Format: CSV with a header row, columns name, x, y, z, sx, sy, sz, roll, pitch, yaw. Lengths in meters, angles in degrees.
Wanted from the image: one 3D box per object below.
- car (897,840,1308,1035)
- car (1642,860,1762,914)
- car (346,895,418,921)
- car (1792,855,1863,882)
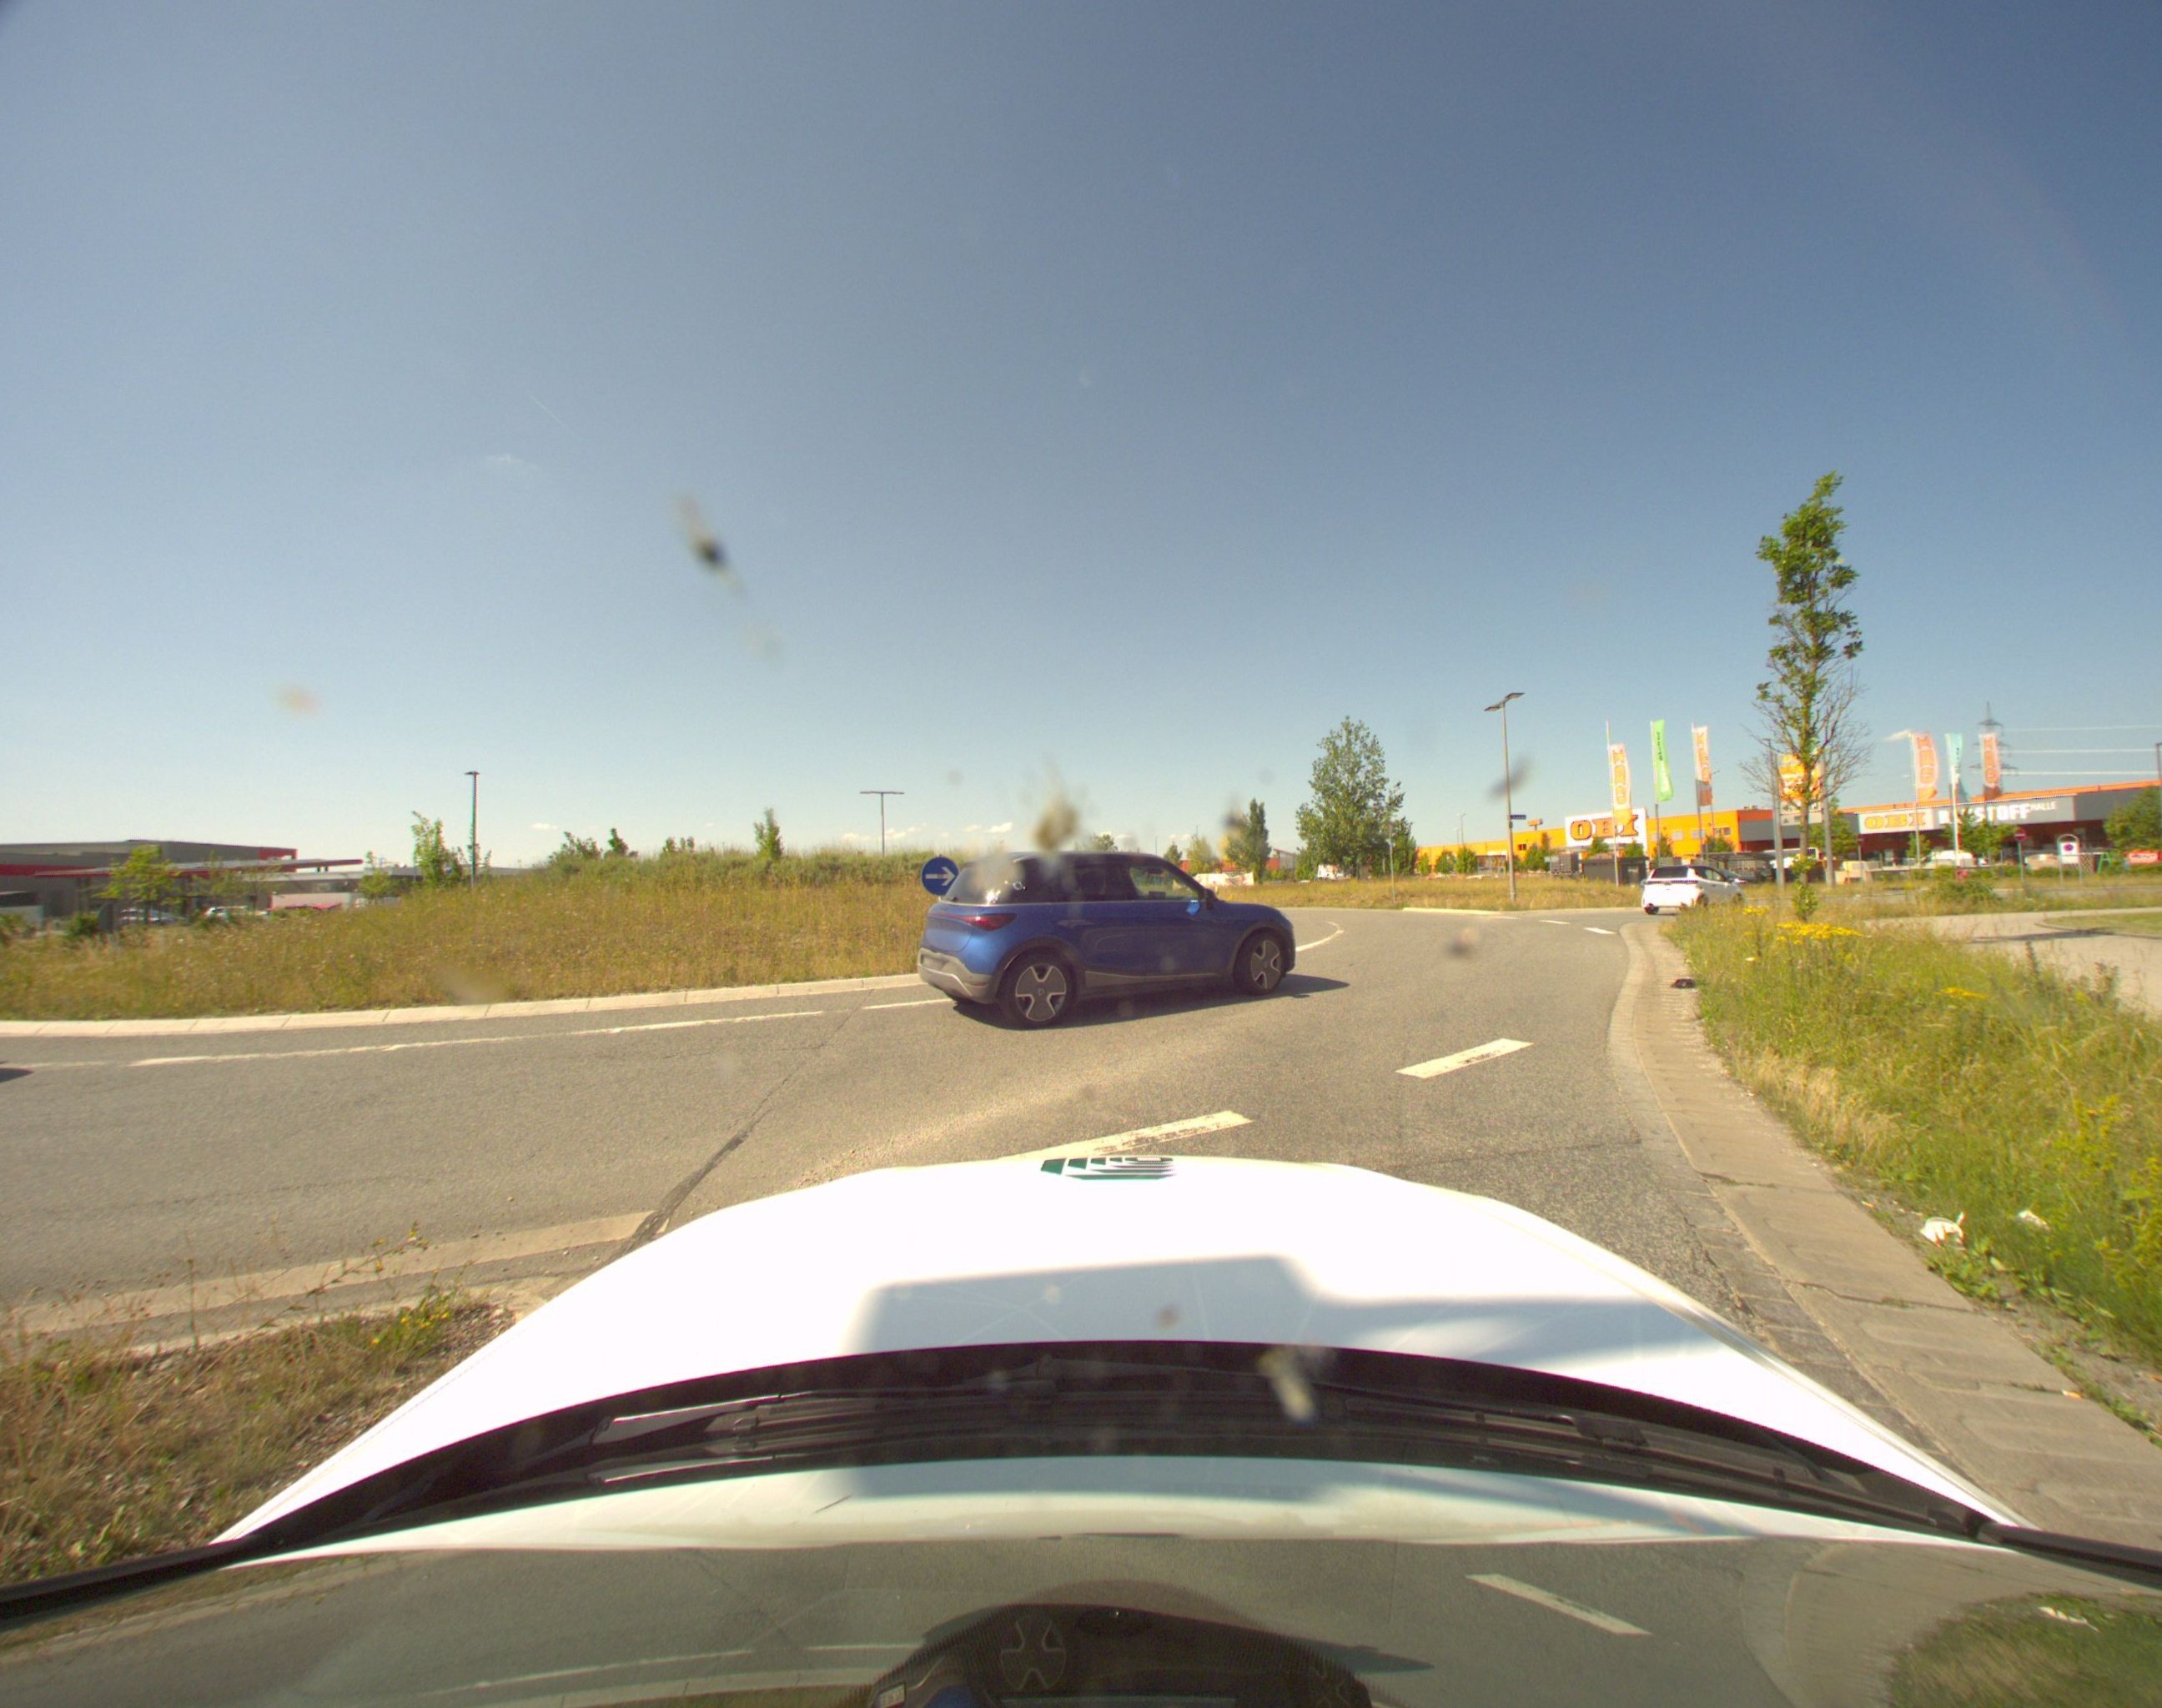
name,x,y,z,sx,sy,sz,roll,pitch,yaw
car,0.284,0.726,8.877,4.092,1.635,1.839,-1,-1,-30
car,18.281,0.954,23.976,3.359,1.441,1.500,-1,-2,-28
car,-56.595,4.337,66.072,1.994,2.014,5.117,-1,-3,-10
car,51.337,1.017,56.026,3.766,1.841,1.692,1,-3,-13
